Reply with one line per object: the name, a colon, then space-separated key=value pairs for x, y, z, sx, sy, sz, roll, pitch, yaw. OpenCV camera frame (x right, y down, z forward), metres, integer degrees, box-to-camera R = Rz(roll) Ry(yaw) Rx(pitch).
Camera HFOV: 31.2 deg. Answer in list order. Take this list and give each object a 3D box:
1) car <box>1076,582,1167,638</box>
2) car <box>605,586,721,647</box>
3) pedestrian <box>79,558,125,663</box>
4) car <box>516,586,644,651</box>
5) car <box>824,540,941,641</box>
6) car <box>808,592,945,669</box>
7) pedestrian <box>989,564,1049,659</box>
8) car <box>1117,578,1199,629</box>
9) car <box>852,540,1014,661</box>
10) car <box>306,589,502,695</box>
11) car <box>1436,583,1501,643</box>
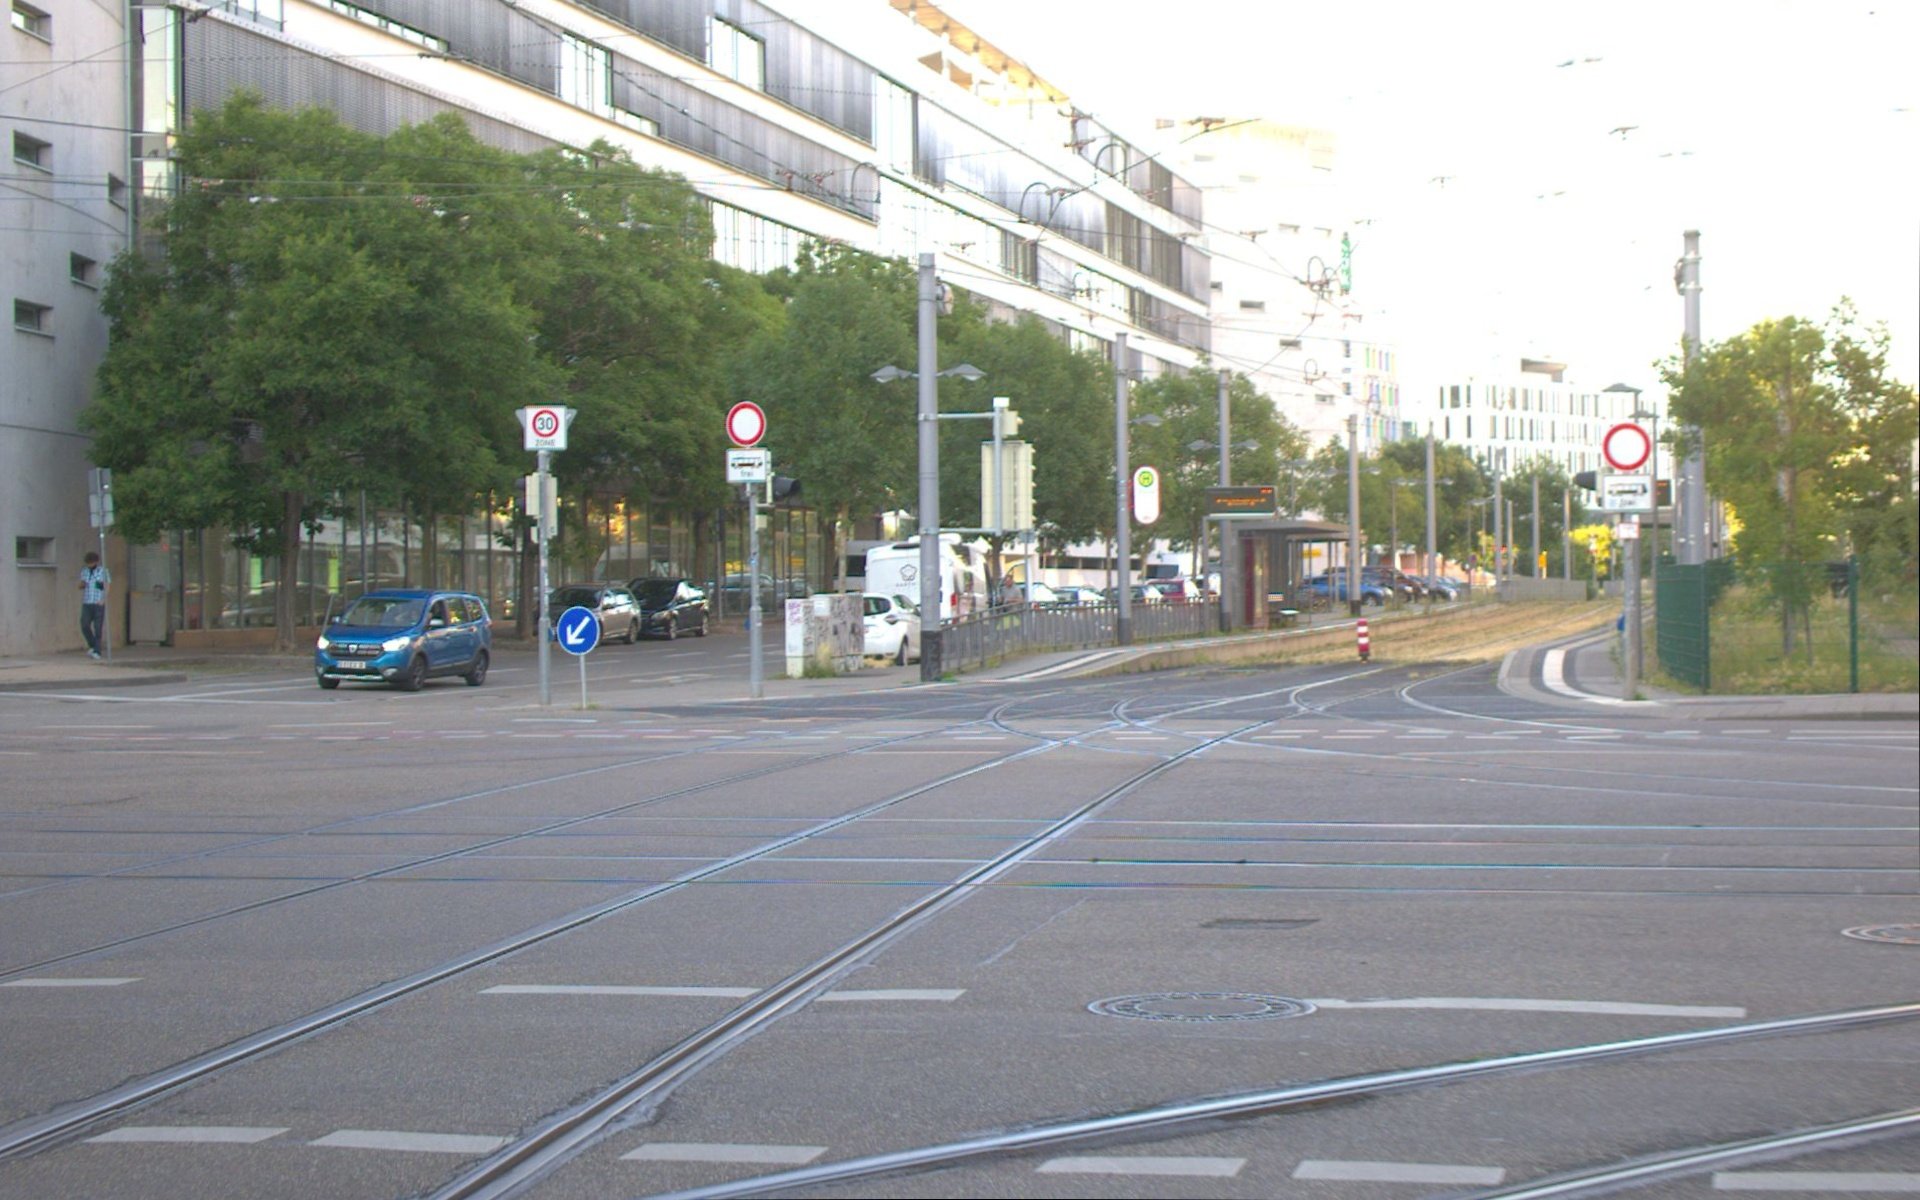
car: x=4.341 y=0.264 z=91.777 sx=1.684 sy=1.434 sz=4.123 roll=0 pitch=0 yaw=13
car: x=-7.642 y=0.417 z=88.748 sx=1.684 sy=1.496 sz=4.236 roll=0 pitch=0 yaw=14
pedestrian: x=-15.820 y=0.188 z=63.373 sx=0.662 sy=1.916 sz=0.548 roll=-1 pitch=0 yaw=2
car: x=-9.136 y=0.434 z=82.970 sx=1.684 sy=1.496 sz=4.236 roll=0 pitch=0 yaw=14
car: x=-2.440 y=-0.311 z=110.372 sx=2.203 sy=3.141 sz=6.139 roll=0 pitch=0 yaw=14
car: x=-1.597 y=0.571 z=67.343 sx=1.684 sy=1.434 sz=4.123 roll=0 pitch=0 yaw=13
pedestrian: x=1.266 y=0.241 z=73.700 sx=1.039 sy=2.023 sz=0.984 roll=-1 pitch=0 yaw=-14
car: x=5.795 y=0.086 z=100.083 sx=1.684 sy=1.434 sz=4.123 roll=0 pitch=0 yaw=13
car: x=-0.515 y=-0.011 z=73.137 sx=2.462 sy=2.474 sz=5.806 roll=0 pitch=0 yaw=10
car: x=-9.406 y=0.683 z=58.459 sx=1.684 sy=1.694 sz=4.236 roll=0 pitch=0 yaw=15
car: x=17.590 y=0.420 z=118.747 sx=1.994 sy=2.007 sz=3.998 roll=0 pitch=0 yaw=12
